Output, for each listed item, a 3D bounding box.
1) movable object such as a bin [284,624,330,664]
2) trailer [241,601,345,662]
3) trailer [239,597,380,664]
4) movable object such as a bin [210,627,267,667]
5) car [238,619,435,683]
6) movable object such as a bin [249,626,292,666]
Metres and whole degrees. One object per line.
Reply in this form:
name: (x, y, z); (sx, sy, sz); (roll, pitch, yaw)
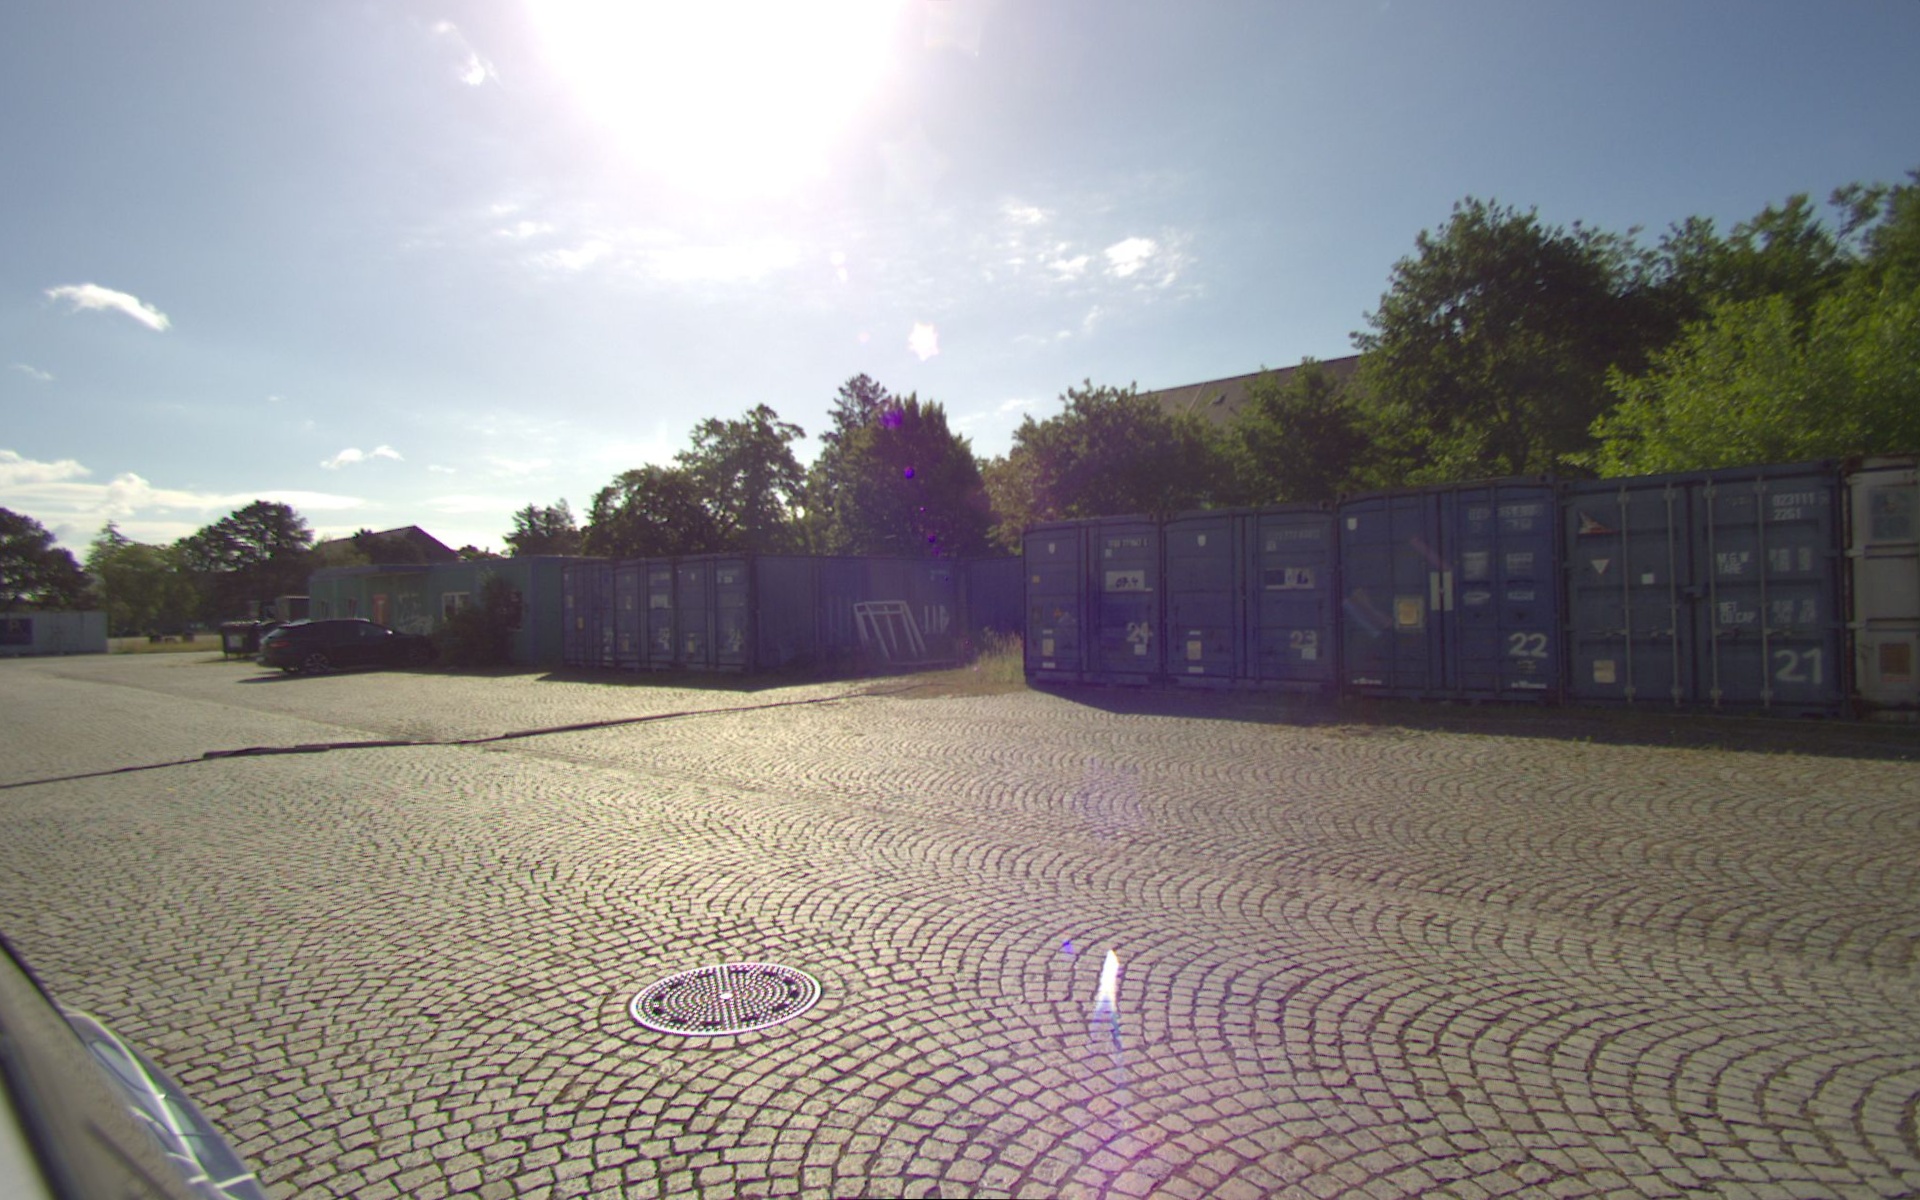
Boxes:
movable object such as a bin: (-24.780, 1.661, 38.385); (1.435, 1.469, 0.876); (-1, 0, 30)
trailer: (-29.296, 1.339, 44.502); (2.043, 2.488, 3.350); (-1, 1, 41)
trailer: (-27.464, 1.236, 42.879); (1.948, 2.587, 4.595); (-1, 1, 36)
movable object such as a bin: (-28.434, 1.856, 39.923); (1.416, 1.469, 1.158); (-2, 0, -6)
car: (-17.117, 1.348, 27.955); (1.929, 1.460, 4.211); (-1, 1, 38)
movable object such as a bin: (-26.525, 1.753, 38.916); (1.439, 1.469, 1.007); (-1, 1, 40)
